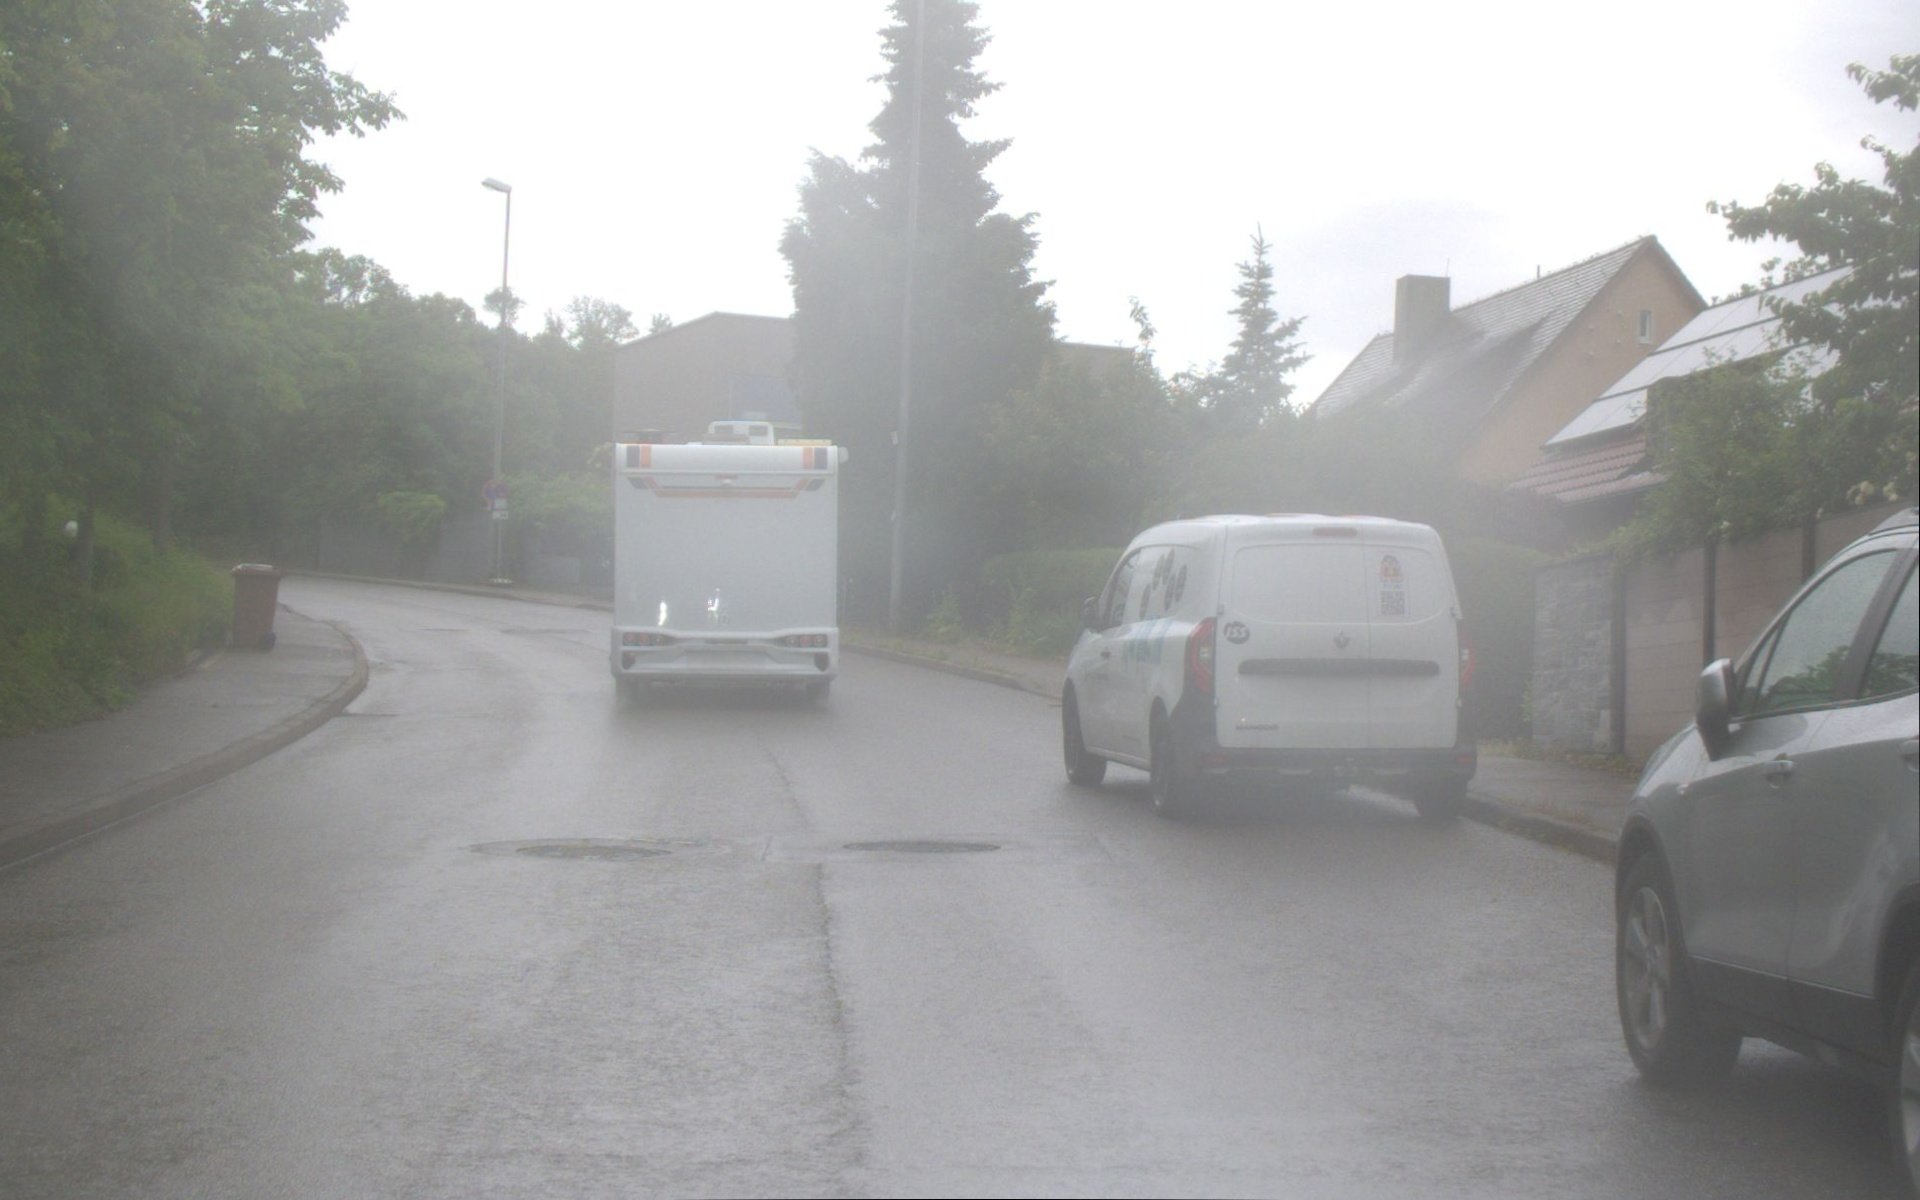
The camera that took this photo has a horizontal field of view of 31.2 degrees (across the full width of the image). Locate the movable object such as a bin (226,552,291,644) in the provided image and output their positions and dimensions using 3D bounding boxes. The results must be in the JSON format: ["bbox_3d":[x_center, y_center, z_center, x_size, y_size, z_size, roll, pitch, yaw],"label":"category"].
[{"bbox_3d":[-9.130,-0.028,44.775,0.694,1.086,0.803,3,4,-6],"label":"movable object such as a bin"}]

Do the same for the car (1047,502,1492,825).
[{"bbox_3d":[1.807,0.343,21.662,1.778,1.797,4.708,1,0,-7],"label":"car"}]

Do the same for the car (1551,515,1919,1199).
[{"bbox_3d":[2.877,0.597,8.749,1.804,1.621,4.288,-1,1,-3],"label":"car"}]

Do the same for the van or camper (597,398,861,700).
[{"bbox_3d":[-2.504,-0.516,36.592,2.539,2.915,5.949,1,0,-5],"label":"van or camper"}]
